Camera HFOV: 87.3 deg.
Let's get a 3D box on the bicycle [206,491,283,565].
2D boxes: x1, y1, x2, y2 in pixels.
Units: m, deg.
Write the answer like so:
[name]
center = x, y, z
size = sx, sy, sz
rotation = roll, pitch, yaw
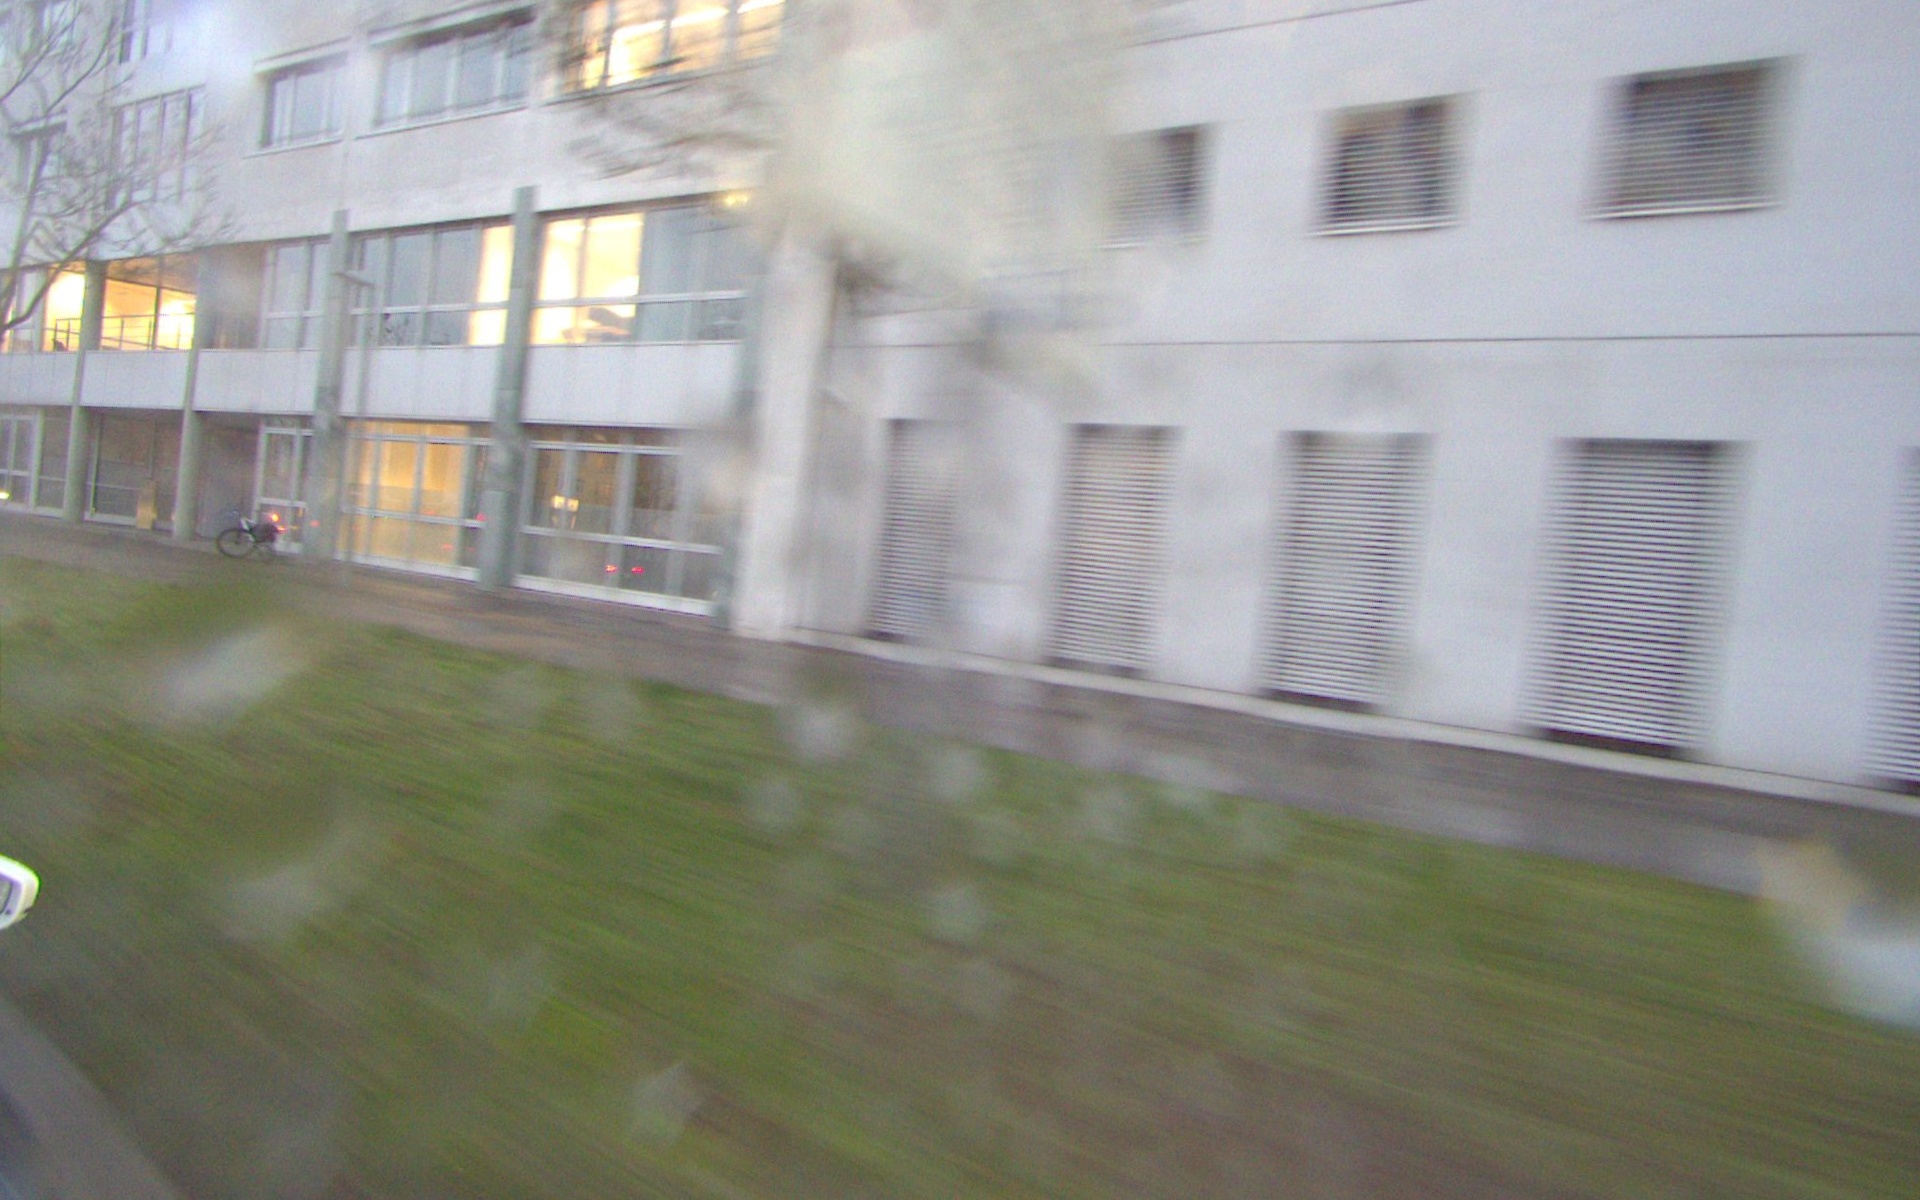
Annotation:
[bicycle]
center = -14.385, -1.462, 20.199
size = 2.425, 1.291, 0.819
rotation = 8, 5, 44
